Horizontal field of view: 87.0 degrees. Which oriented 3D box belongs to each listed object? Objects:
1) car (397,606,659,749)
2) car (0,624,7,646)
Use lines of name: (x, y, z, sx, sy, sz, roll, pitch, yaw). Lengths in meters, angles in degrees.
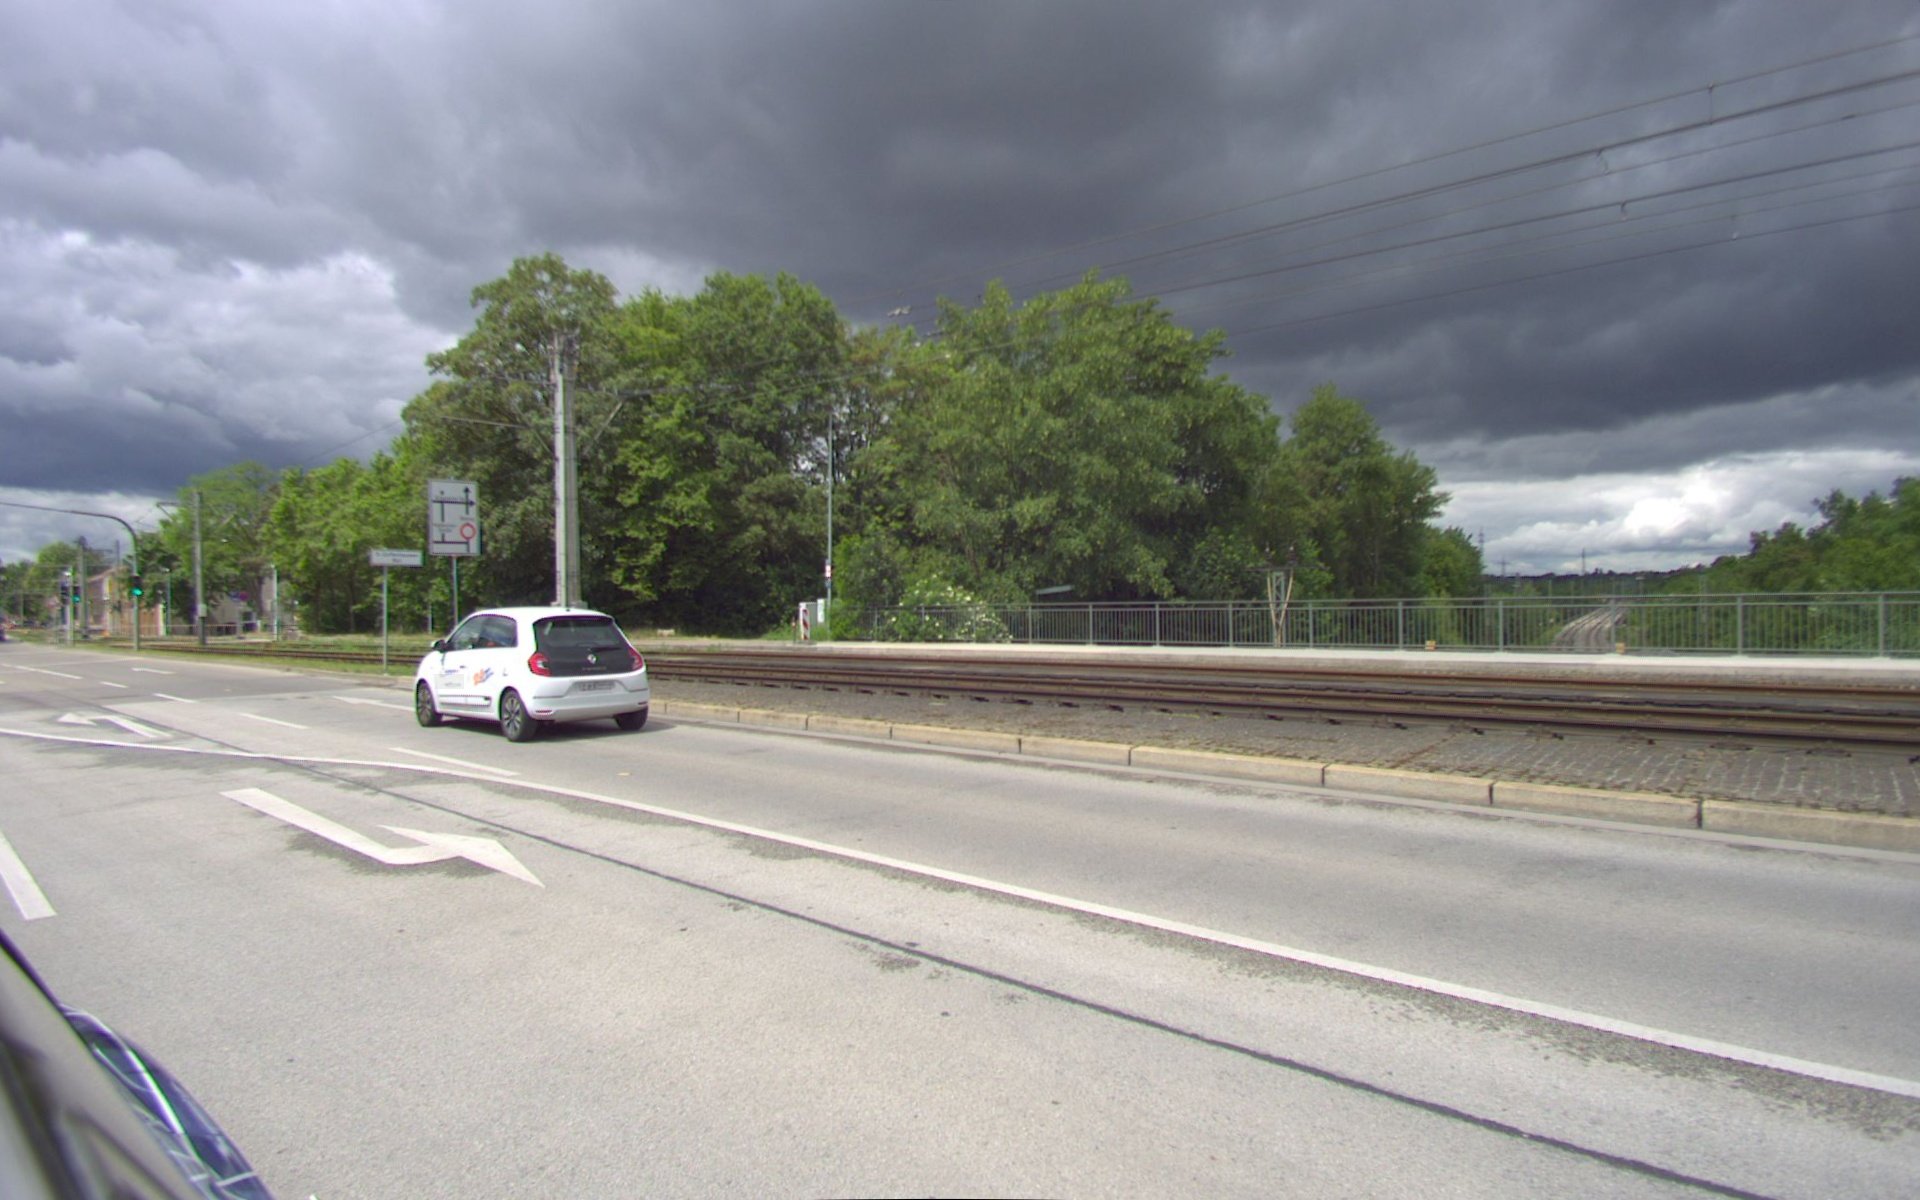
car: (-5.516, 0.868, 12.746, 3.652, 1.538, 1.577, -1, 0, 41)
car: (-78.793, 2.887, 82.228, 4.229, 1.688, 1.688, -2, 1, 44)
